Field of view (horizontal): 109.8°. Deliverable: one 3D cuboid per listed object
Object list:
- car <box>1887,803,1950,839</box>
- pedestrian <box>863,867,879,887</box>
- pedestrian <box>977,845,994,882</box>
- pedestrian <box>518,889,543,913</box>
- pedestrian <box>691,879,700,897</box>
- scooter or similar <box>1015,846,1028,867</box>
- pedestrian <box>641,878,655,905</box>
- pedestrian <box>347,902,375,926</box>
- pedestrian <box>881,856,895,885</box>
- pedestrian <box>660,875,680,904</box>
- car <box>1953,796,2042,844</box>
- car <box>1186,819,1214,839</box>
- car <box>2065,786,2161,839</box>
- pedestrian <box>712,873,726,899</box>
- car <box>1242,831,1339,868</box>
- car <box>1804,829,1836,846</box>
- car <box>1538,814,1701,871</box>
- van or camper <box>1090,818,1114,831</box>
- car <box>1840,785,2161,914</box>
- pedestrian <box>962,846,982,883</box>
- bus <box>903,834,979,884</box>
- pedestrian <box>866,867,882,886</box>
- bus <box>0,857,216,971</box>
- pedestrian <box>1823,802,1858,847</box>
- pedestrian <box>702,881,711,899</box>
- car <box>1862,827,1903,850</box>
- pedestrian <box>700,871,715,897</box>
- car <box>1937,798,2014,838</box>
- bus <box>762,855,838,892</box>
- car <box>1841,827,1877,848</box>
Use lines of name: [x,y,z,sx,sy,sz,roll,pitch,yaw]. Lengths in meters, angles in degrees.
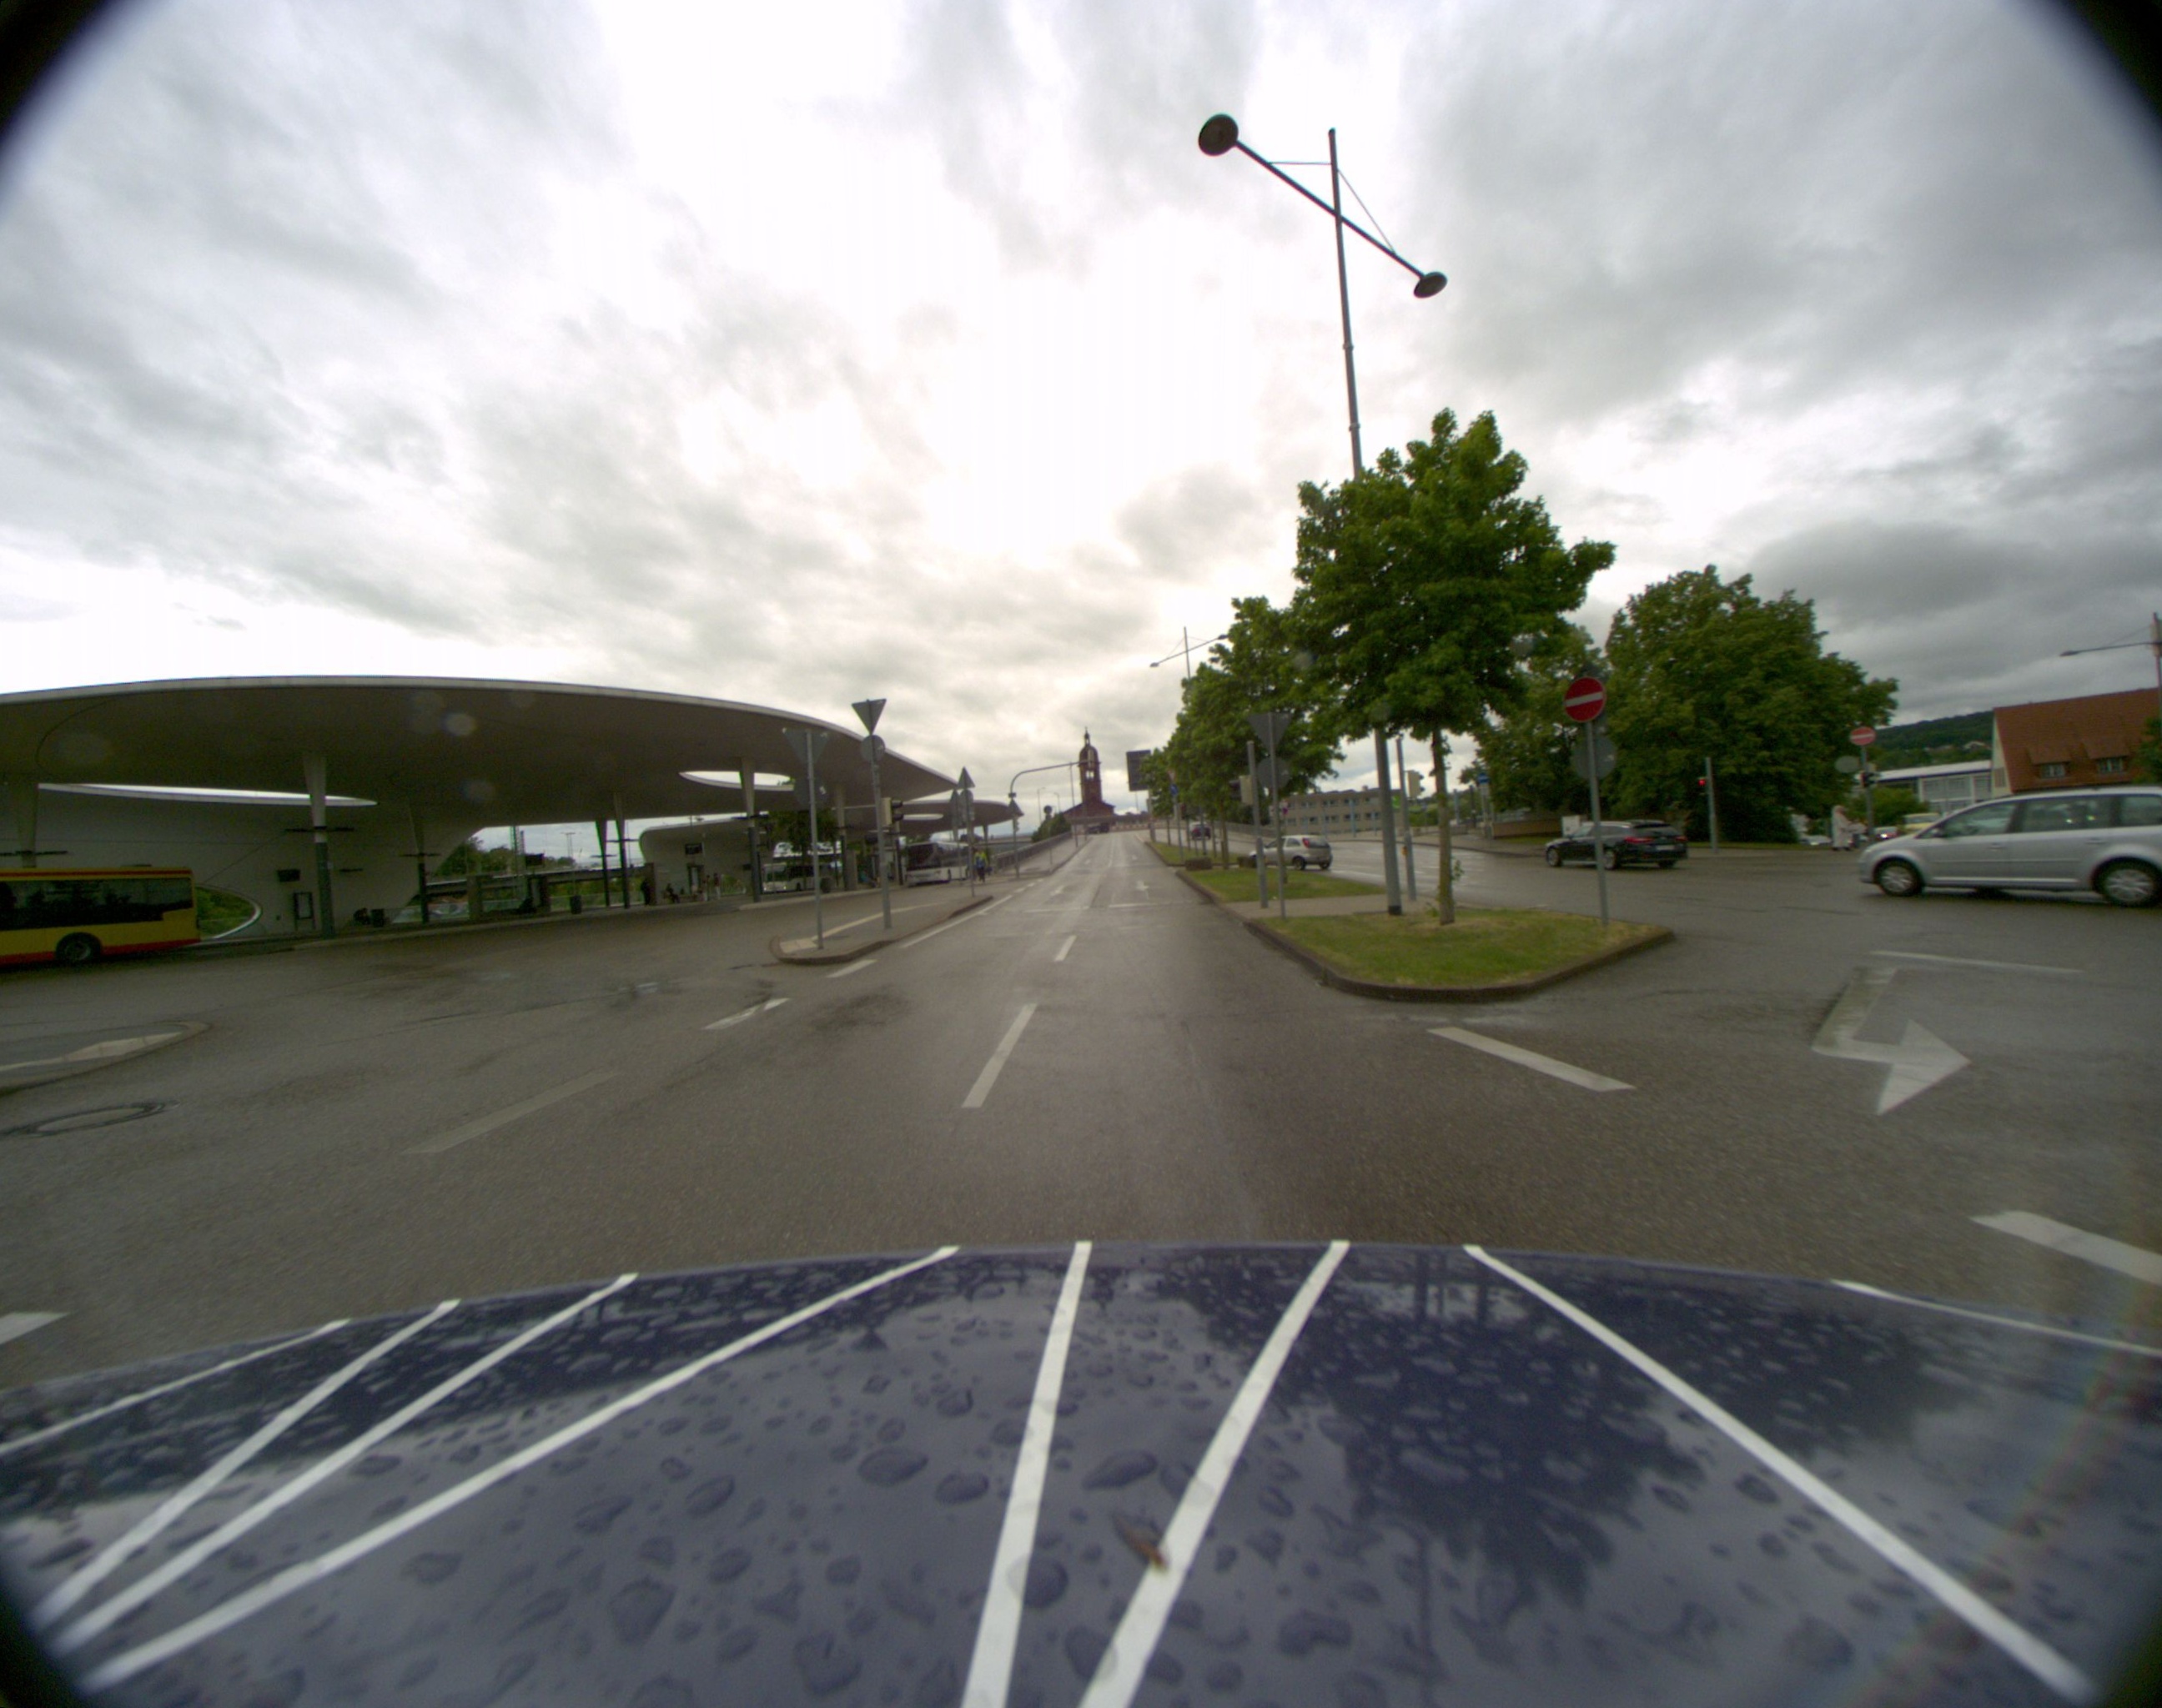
car: [44.030,-1.741,40.009,1.723,1.689,3.658,-3,1,40]
pedestrian: [-13.731,1.502,49.648,0.954,1.247,0.648,-1,-1,-20]
pedestrian: [-4.474,0.431,35.523,0.523,1.661,0.580,-5,4,3]
pedestrian: [-33.791,2.907,46.674,0.710,1.318,0.801,-7,4,11]
pedestrian: [-24.099,2.112,47.543,0.391,1.074,0.352,-2,1,45]
scooter or similar: [-3.537,0.137,45.116,0.465,1.214,1.859,-4,1,3]
pedestrian: [-24.674,2.138,43.306,0.522,1.493,0.381,-4,1,-37]
pedestrian: [-44.782,3.729,47.276,0.711,1.318,0.801,-7,4,7]
pedestrian: [-12.779,1.112,50.264,0.585,1.875,0.650,-2,-1,13]
pedestrian: [-24.403,2.114,45.143,0.590,1.581,0.677,-7,4,-1]
car: [33.770,-1.284,28.098,4.148,1.559,1.883,-4,1,-42]
car: [11.776,-2.511,75.330,1.913,1.653,4.855,-4,3,0]
car: [34.281,-1.377,25.107,3.845,1.559,1.723,-4,1,-44]
pedestrian: [-23.936,2.131,50.249,0.644,1.645,0.638,-4,1,-37]
car: [8.825,-0.186,32.312,1.639,1.440,3.867,-3,2,-30]
car: [67.400,-1.541,69.303,1.569,1.387,3.186,-3,1,35]
car: [16.652,-0.343,23.882,1.851,1.495,4.920,-4,1,4]
van or camper: [3.699,-5.268,136.047,2.226,2.062,5.271,-4,4,-22]
car: [14.628,-0.109,11.380,1.852,1.643,4.417,-4,1,-4]
pedestrian: [-5.089,0.486,35.539,0.590,1.662,0.580,-6,5,3]
bus: [-10.588,0.290,59.080,2.851,3.342,12.427,-3,0,3]
pedestrian: [-13.758,1.517,50.427,0.954,1.247,0.648,-1,-1,-20]
bus: [-32.980,1.887,21.415,2.795,3.238,12.141,-4,1,2]
pedestrian: [26.732,-1.040,26.766,0.652,1.562,0.631,-1,3,20]
pedestrian: [-23.540,2.249,47.738,0.395,1.138,0.364,-2,1,45]
car: [60.146,-1.184,57.060,1.569,1.543,3.187,-3,1,38]
pedestrian: [-24.183,1.926,49.240,0.570,1.645,0.557,-3,1,9]
car: [38.064,-1.562,32.414,1.723,1.499,4.063,-3,1,45]
bus: [-29.621,1.932,80.848,2.795,3.238,12.142,-4,1,3]
car: [63.723,-1.337,62.279,1.569,1.543,3.187,-3,1,38]
